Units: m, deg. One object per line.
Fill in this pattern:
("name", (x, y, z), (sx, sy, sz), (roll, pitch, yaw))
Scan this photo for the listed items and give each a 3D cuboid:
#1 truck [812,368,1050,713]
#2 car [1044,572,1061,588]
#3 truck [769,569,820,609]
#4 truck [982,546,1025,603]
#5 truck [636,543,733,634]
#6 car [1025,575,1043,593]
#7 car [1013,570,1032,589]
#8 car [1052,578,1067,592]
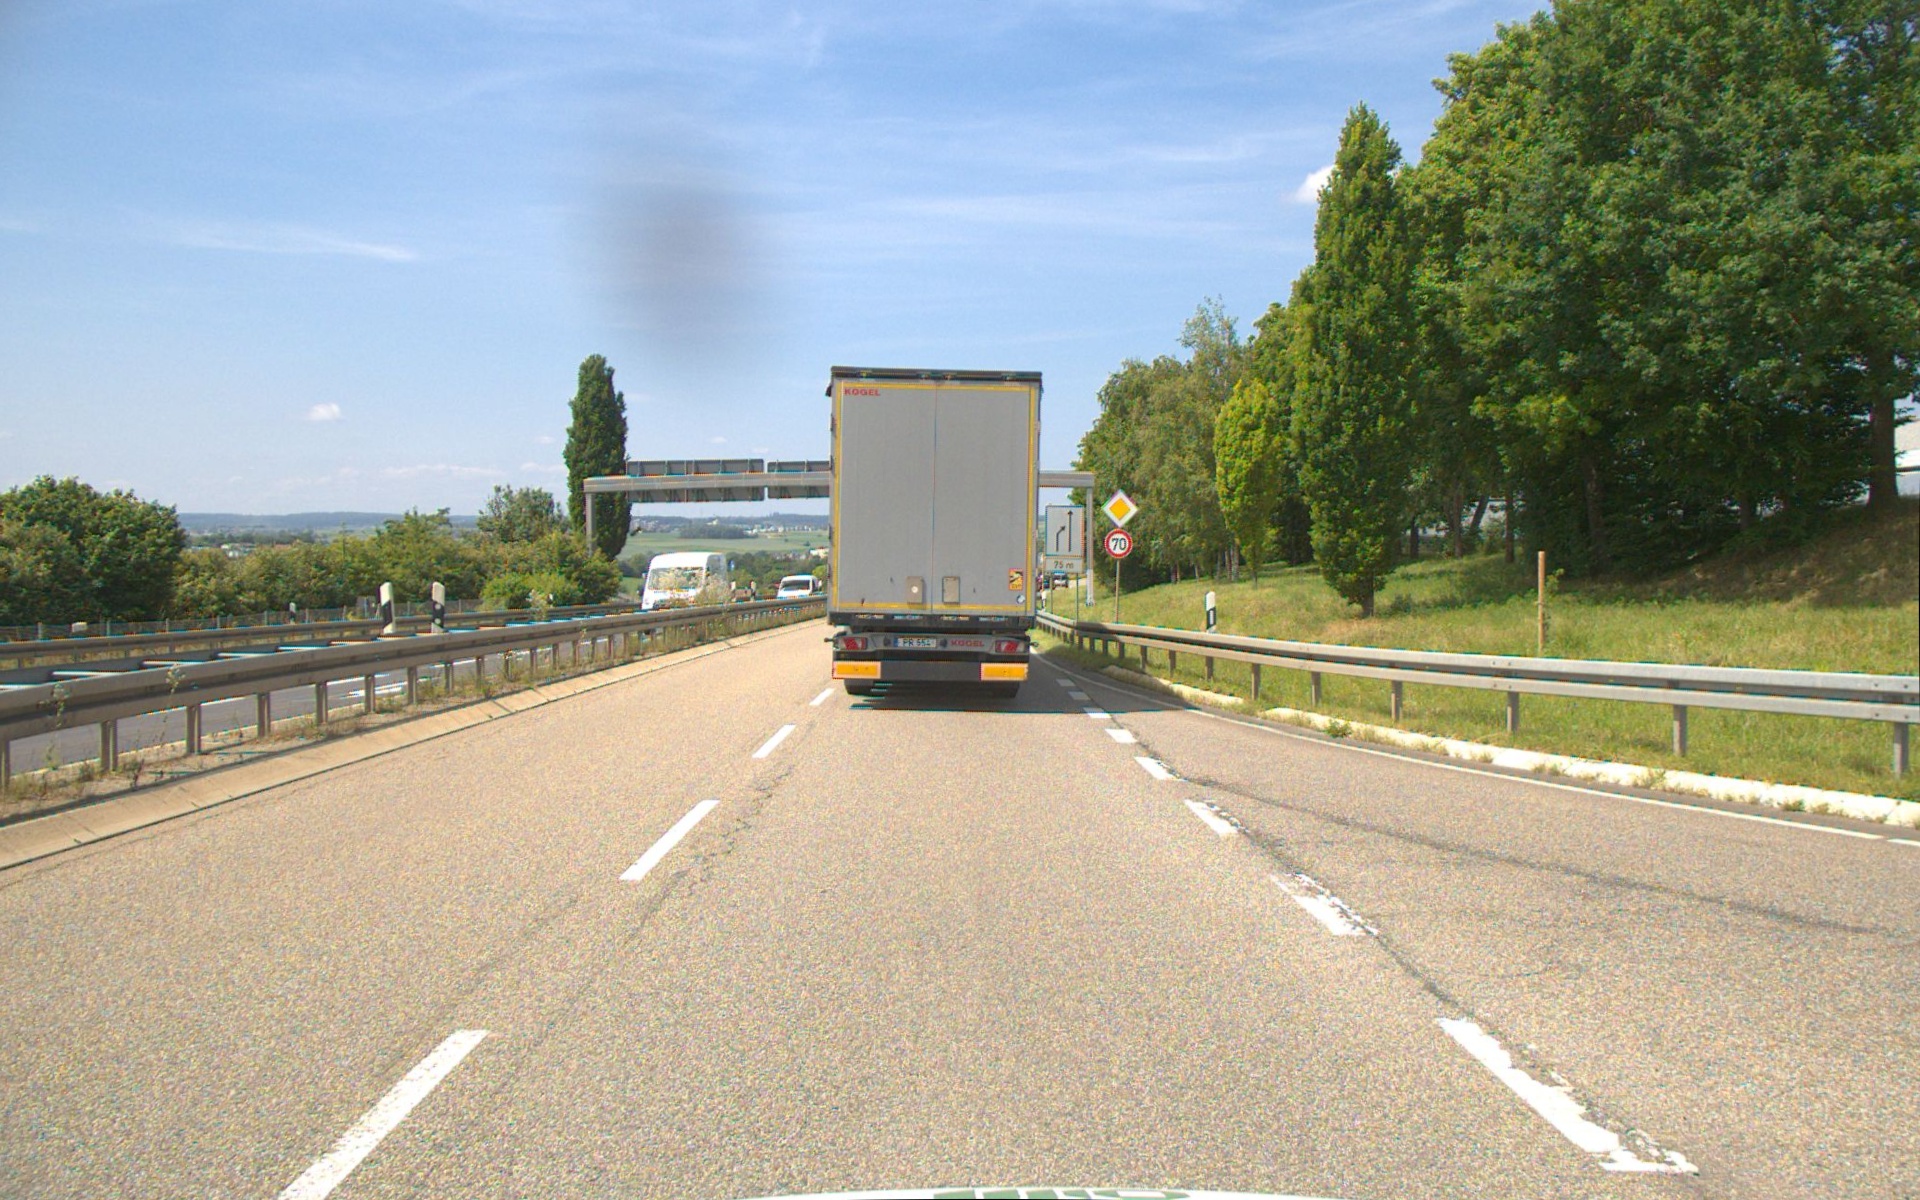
("truck", (-0.456, -0.765, 25.029), (2.742, 3.998, 11.339), (1, 1, -1))
("car", (10.519, -2.263, 188.952), (1.749, 1.717, 4.000), (1, 0, 1))
("truck", (-7.890, -0.484, 79.242), (1.811, 1.779, 4.538), (-2, 0, 1))
("truck", (3.158, -1.757, 118.414), (2.600, 3.830, 10.167), (1, 0, 4))
("truck", (-8.715, -0.392, 52.818), (1.999, 2.666, 6.019), (-2, 1, 0))
("car", (7.603, -1.648, 170.908), (1.749, 1.717, 4.000), (1, 0, 1))
("car", (5.952, -1.962, 157.440), (1.749, 1.717, 4.000), (1, 0, 1))
("car", (12.563, -1.918, 208.543), (1.749, 1.717, 4.000), (1, 0, 1))
